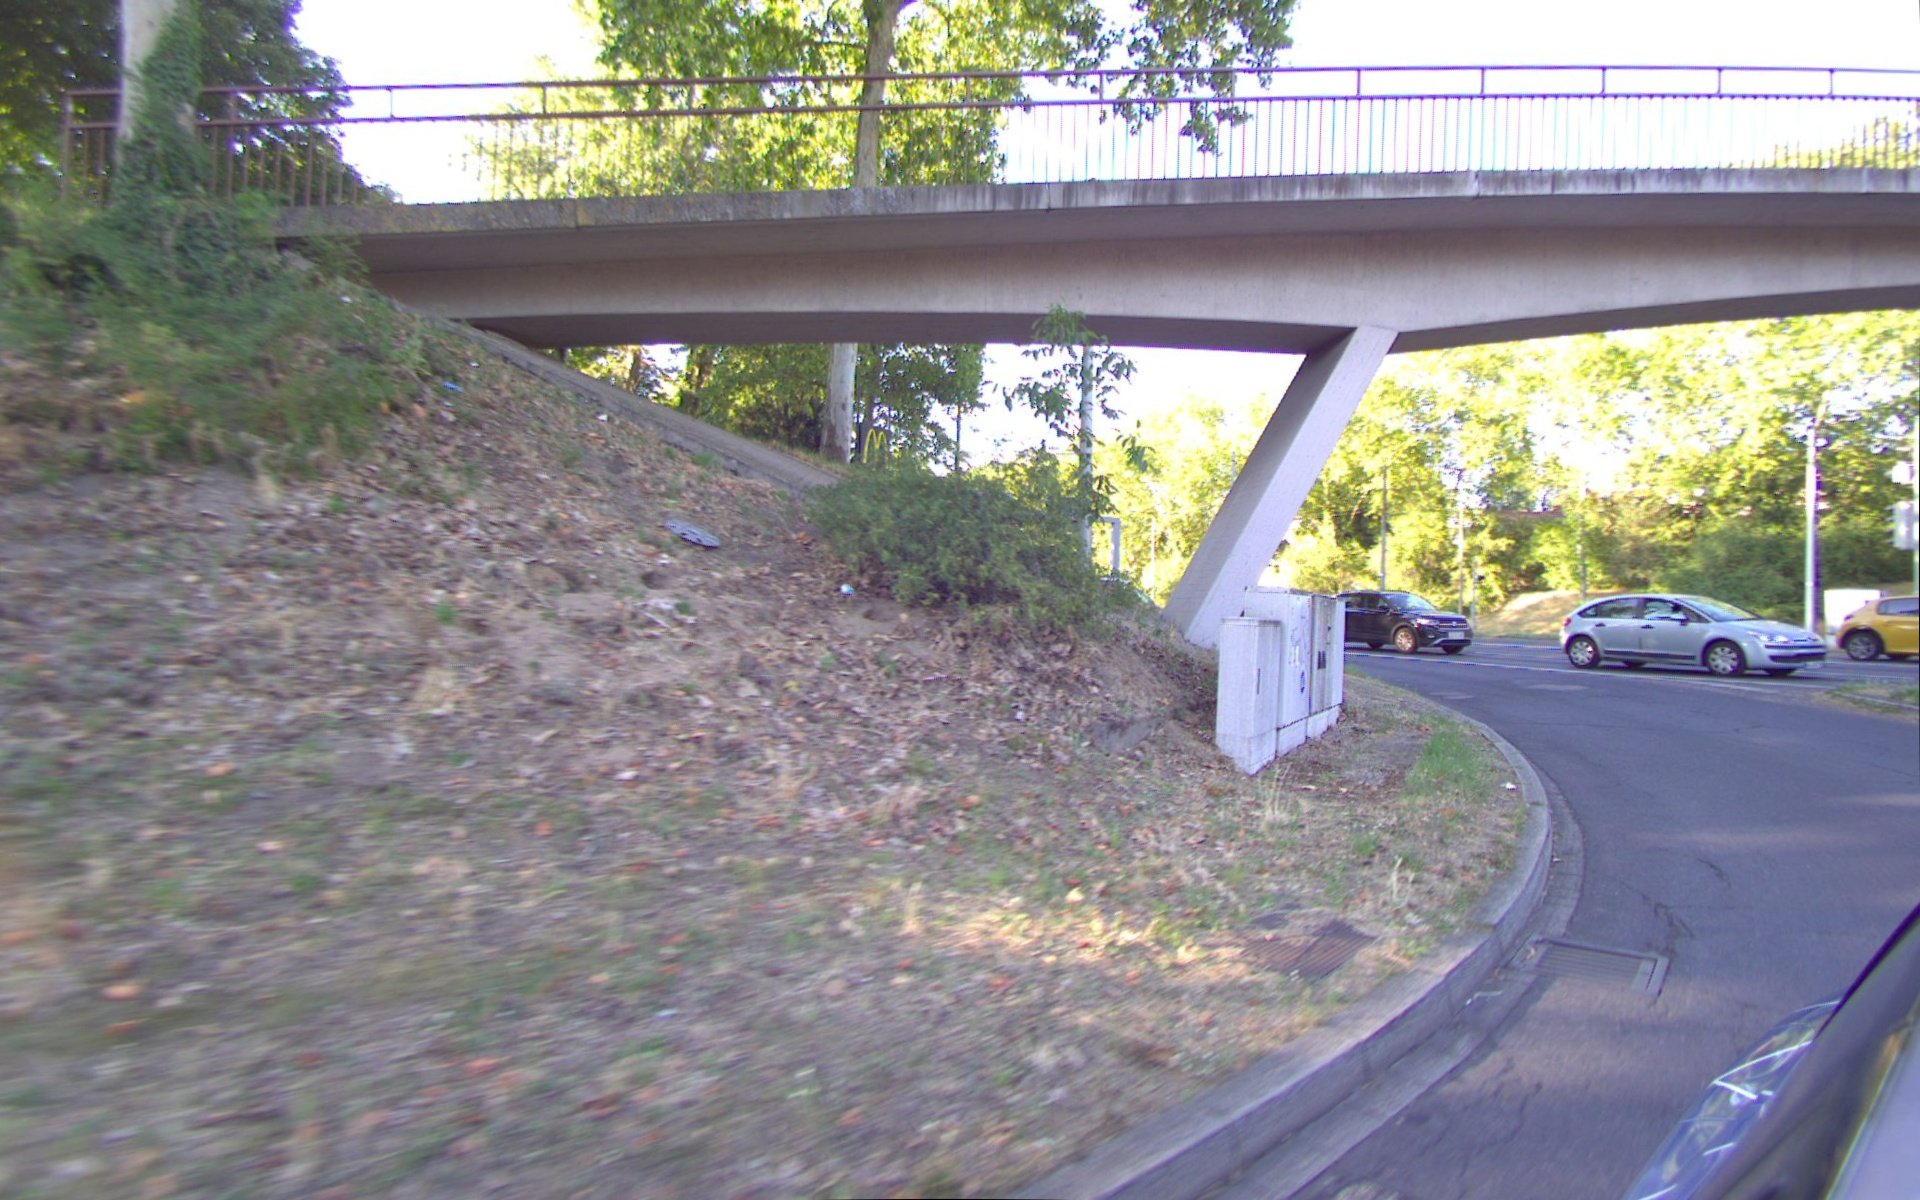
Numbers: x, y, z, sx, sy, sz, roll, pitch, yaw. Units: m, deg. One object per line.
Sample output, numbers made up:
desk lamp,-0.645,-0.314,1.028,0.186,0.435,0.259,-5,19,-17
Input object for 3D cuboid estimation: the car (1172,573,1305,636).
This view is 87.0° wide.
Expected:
car,8.639,0.155,31.792,1.760,1.772,4.249,3,-1,-22

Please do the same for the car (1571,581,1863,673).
car,13.792,0.454,18.737,1.760,1.500,4.007,1,-1,-22

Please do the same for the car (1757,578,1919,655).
car,20.359,0.373,22.377,1.633,1.585,4.007,3,-1,-22

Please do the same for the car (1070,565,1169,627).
car,5.923,-0.124,37.981,1.760,2.132,4.007,3,-1,-22

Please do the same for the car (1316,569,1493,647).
car,11.284,0.209,25.984,1.760,1.772,4.007,3,-1,-22
